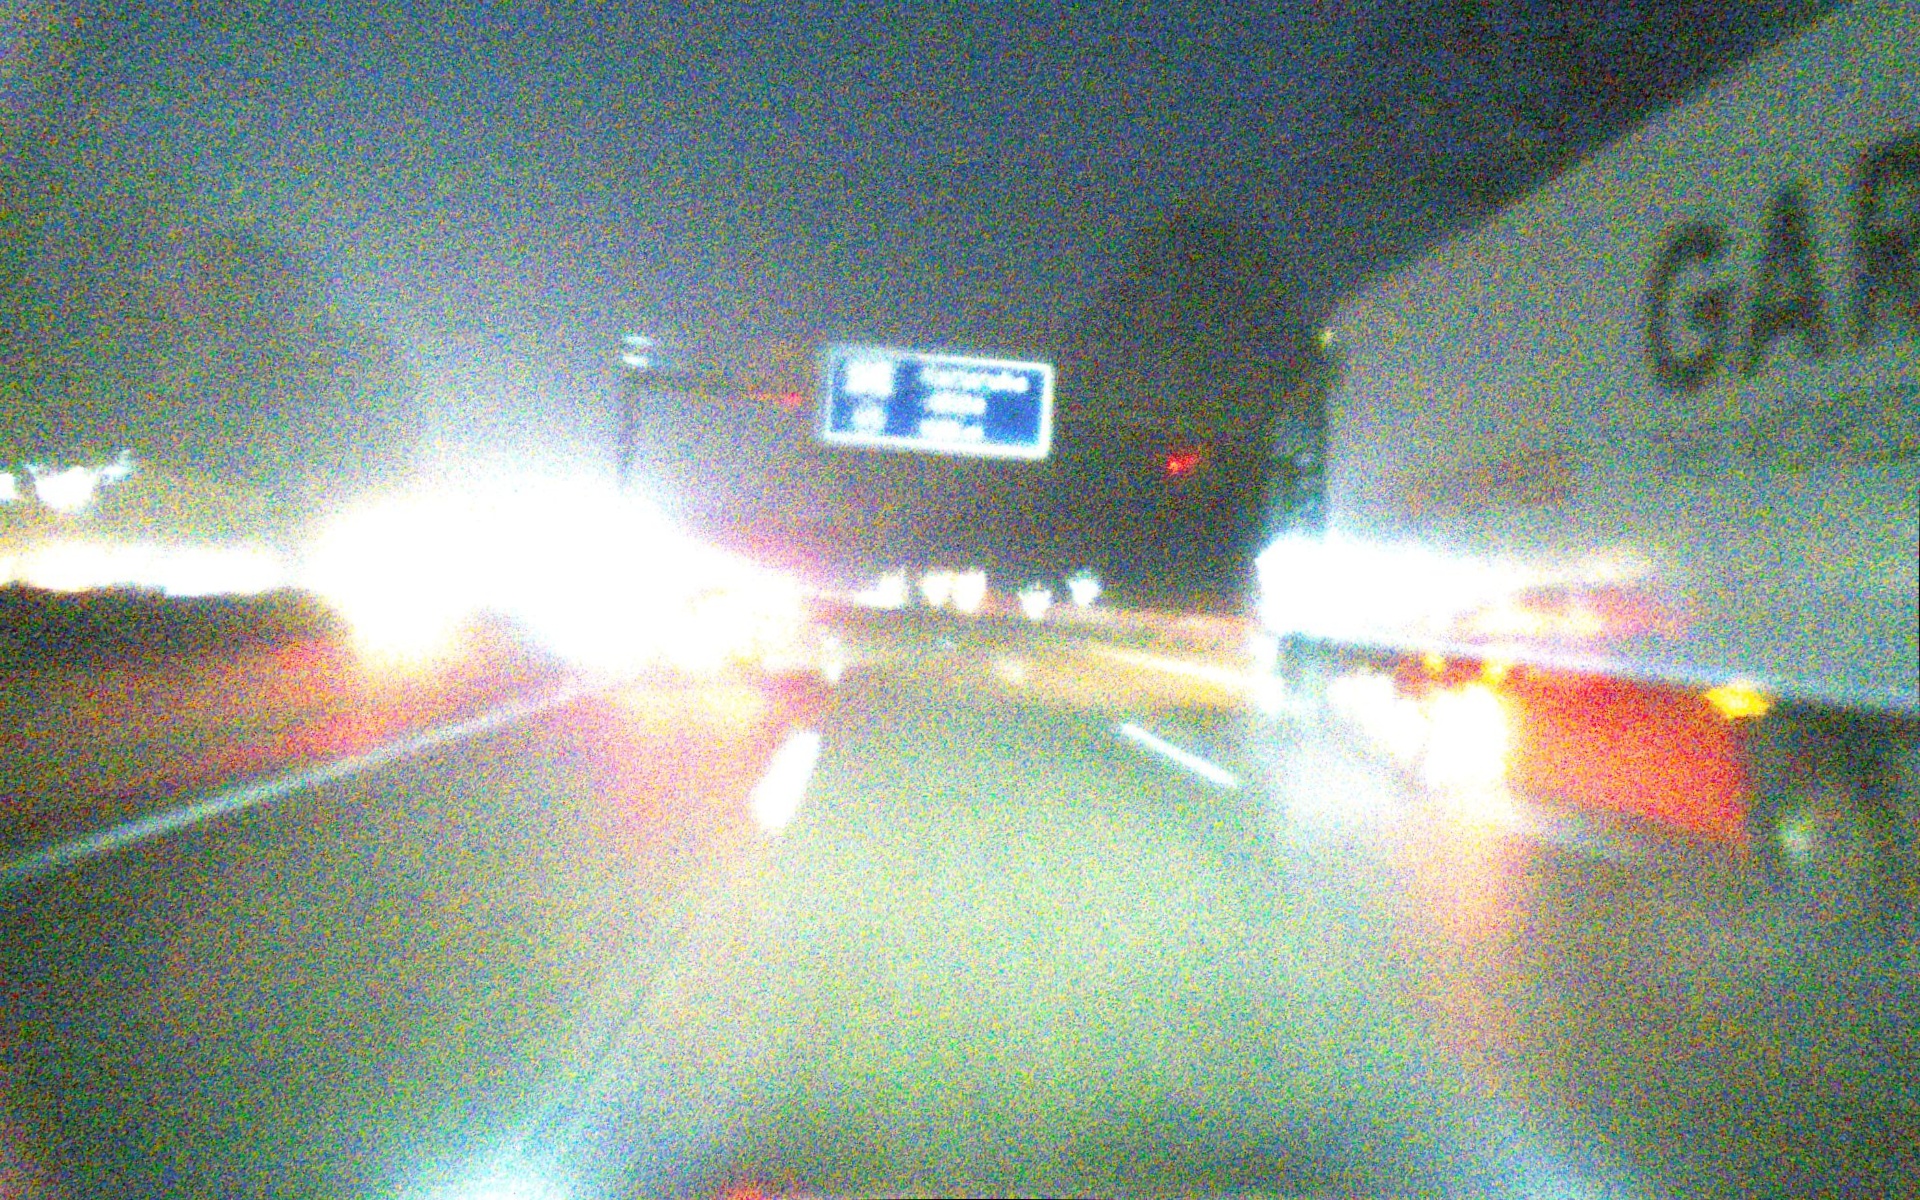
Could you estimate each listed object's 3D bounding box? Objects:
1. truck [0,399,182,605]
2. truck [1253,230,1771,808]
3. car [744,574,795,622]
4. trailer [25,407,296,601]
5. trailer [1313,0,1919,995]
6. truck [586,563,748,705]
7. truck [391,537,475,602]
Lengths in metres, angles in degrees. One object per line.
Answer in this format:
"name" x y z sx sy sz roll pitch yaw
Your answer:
"truck" -24.460 -2.665 46.338 2.700 5.185 5.875 4 1 -6
"truck" 4.664 -0.659 15.162 2.657 4.315 5.289 -1 1 -4
"car" -9.220 -0.119 80.188 1.954 2.048 3.999 5 1 -2
"trailer" -25.257 -2.934 53.509 2.719 5.178 14.918 4 1 -6
"trailer" 4.902 -0.630 8.262 2.684 4.322 13.363 2 0 -3
"truck" -4.986 0.461 29.106 2.103 2.113 6.599 1 2 -4
"truck" -24.329 -1.399 76.585 2.241 2.718 6.115 4 0 -6
